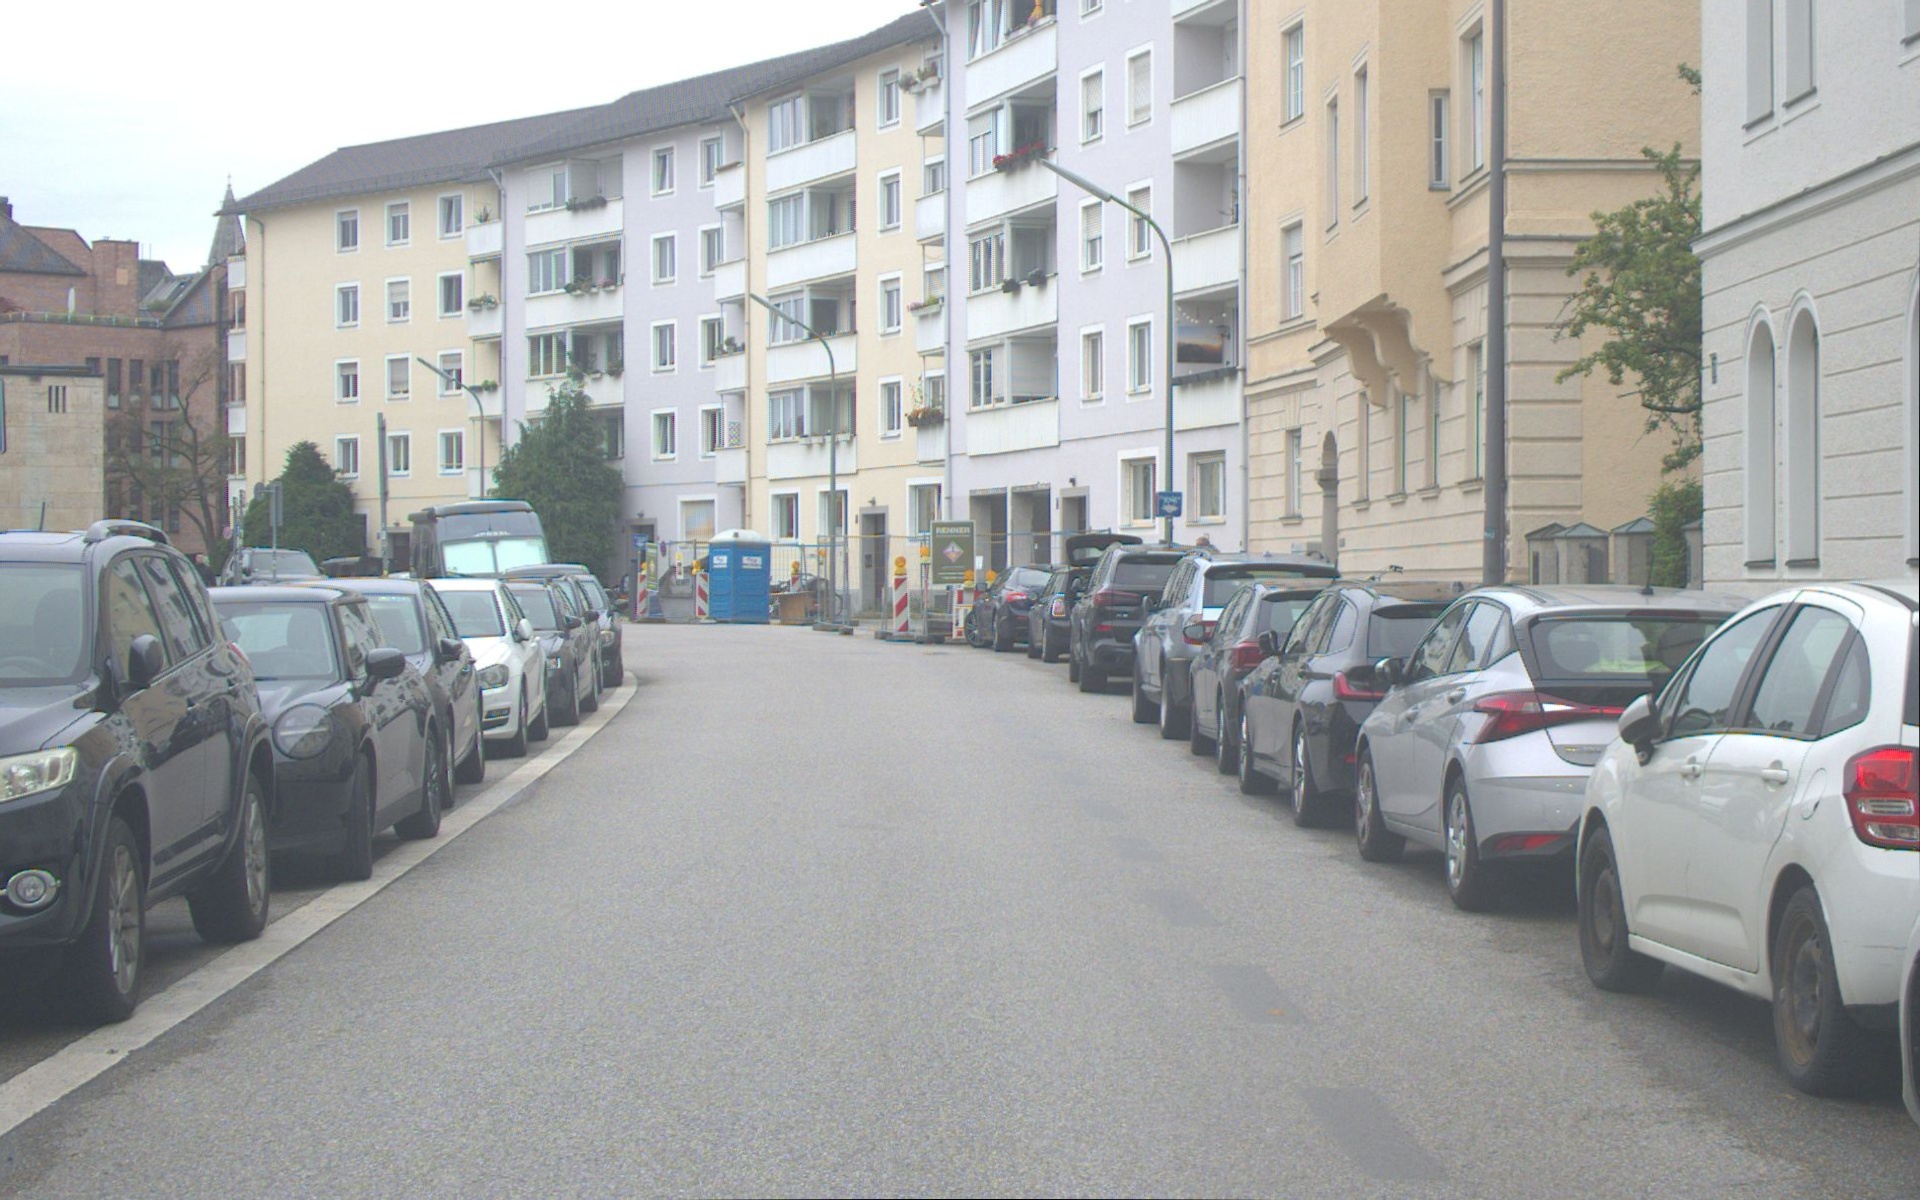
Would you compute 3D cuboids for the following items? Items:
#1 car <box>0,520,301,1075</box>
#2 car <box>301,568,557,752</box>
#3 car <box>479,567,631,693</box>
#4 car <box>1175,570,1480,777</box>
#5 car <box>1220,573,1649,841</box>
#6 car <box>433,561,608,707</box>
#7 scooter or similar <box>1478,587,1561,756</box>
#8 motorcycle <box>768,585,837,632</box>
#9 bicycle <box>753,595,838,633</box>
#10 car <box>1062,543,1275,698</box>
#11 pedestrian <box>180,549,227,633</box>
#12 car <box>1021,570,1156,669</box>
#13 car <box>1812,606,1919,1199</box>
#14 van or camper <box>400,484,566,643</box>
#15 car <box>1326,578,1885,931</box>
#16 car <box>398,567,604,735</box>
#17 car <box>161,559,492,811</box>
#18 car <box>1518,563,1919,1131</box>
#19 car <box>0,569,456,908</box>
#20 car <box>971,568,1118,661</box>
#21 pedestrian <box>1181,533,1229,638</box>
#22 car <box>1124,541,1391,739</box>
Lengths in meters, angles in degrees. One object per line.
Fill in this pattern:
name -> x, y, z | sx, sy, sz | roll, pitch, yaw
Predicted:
car -> -3.642, 0.602, 12.512 | 1.714, 1.684, 4.141 | -2, 1, -1
car -> -4.382, 0.450, 28.915 | 1.740, 1.417, 4.295 | 1, 1, -4
car -> -5.143, 0.341, 43.876 | 1.773, 1.460, 4.467 | -2, 1, -6
car -> 2.748, 0.505, 26.562 | 1.827, 1.445, 4.084 | 1, 1, -1
car -> 2.810, 0.577, 21.406 | 1.875, 1.445, 4.678 | 1, 1, -2
car -> -4.889, 0.347, 38.621 | 1.630, 1.489, 3.604 | -2, 1, -3
scooter or similar -> 4.188, 0.524, 25.766 | 0.427, 1.226, 1.047 | 0, 0, -1
motorcycle -> -4.147, 0.210, 90.461 | 0.931, 1.217, 2.507 | 0, 0, -25
bicycle -> -4.705, 0.395, 98.476 | 2.232, 1.066, 0.919 | 0, 0, -25
car -> 2.447, 0.208, 41.686 | 2.170, 1.733, 5.024 | 1, 1, -1
pedestrian -> -16.905, -0.192, 76.823 | 0.842, 1.860, 0.714 | 0, 0, -29
car -> 1.908, 0.268, 51.892 | 1.630, 1.412, 3.680 | 1, 1, -4
car -> 3.053, 0.761, 6.400 | 1.725, 1.425, 4.294 | 1, 1, -2
van or camper -> -8.287, -0.637, 59.242 | 2.296, 2.572, 6.087 | 1, 1, -13
car -> 2.956, 0.642, 16.642 | 1.724, 1.445, 4.188 | 1, 1, -3
car -> -4.475, 0.455, 34.007 | 1.630, 1.489, 4.276 | -2, 1, -3
car -> -4.090, 0.492, 22.747 | 1.630, 1.489, 4.101 | 1, 1, -3
car -> 3.106, 0.661, 11.354 | 1.650, 1.538, 3.994 | 1, 1, -3
car -> -3.685, 0.618, 17.687 | 1.631, 1.489, 3.820 | -2, 1, -1
car -> 1.381, 0.213, 58.153 | 1.908, 1.472, 4.947 | 1, 1, -5
pedestrian -> 4.029, -0.236, 56.617 | 0.617, 1.684, 0.919 | -3, 0, -1
car -> 2.634, 0.318, 31.423 | 1.846, 1.658, 4.499 | 1, 1, -2
